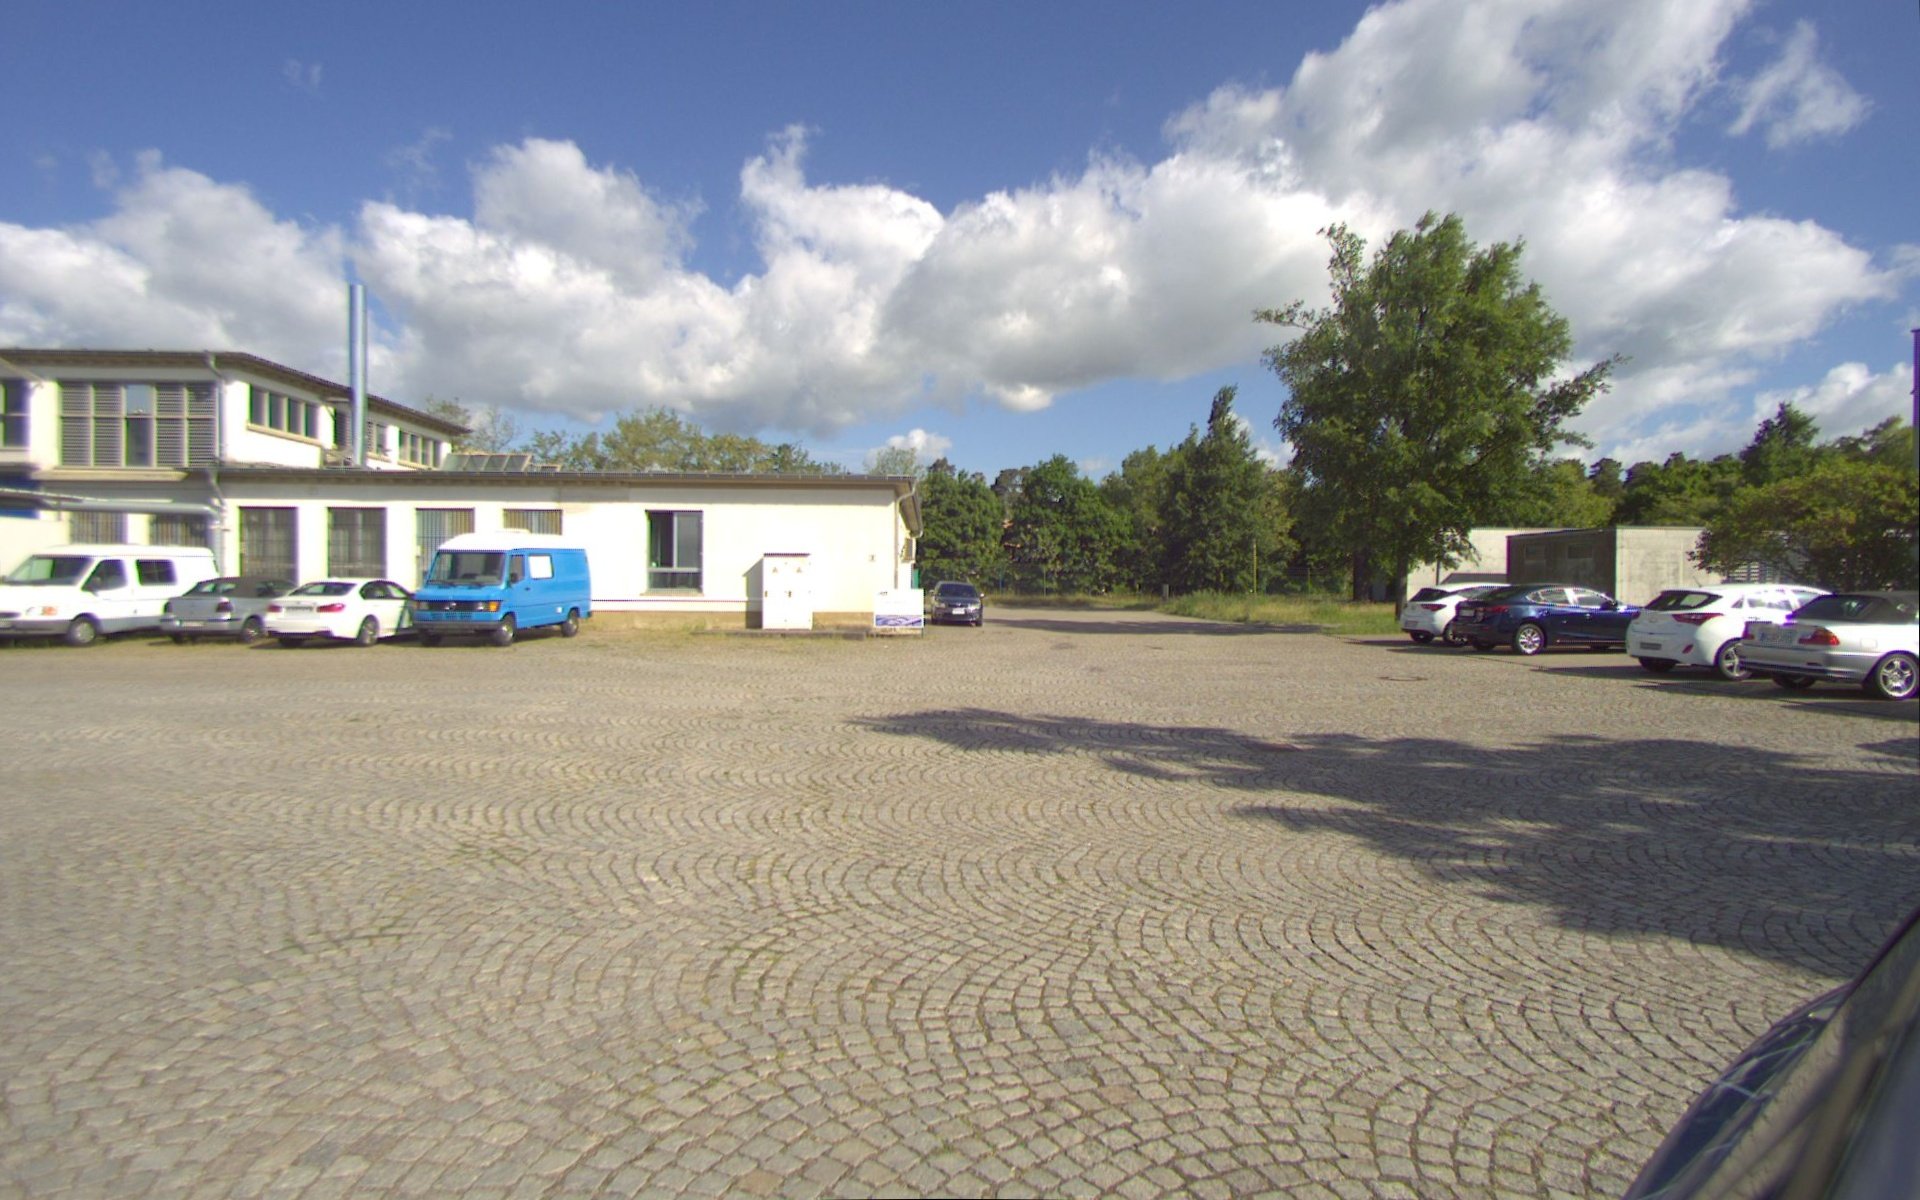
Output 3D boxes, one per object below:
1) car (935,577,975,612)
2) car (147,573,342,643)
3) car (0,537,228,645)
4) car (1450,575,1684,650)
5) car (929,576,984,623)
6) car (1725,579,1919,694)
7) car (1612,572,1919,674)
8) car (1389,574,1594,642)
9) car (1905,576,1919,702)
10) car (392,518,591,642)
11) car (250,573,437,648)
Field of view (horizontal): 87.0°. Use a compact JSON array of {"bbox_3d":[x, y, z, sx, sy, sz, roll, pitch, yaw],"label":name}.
[{"bbox_3d":[-0.260,-0.256,44.798,1.660,1.453,3.988,1,1,-1],"label":"car"},{"bbox_3d":[-15.923,0.119,22.776,1.661,1.416,3.831,1,1,1],"label":"car"},{"bbox_3d":[-18.826,-0.262,22.204,1.972,2.107,4.804,0,2,1],"label":"car"},{"bbox_3d":[12.681,0.230,21.306,3.850,1.435,1.693,-1,1,0],"label":"car"},{"bbox_3d":[-0.139,-0.051,35.041,1.735,1.453,3.993,3,1,-1],"label":"car"},{"bbox_3d":[12.836,0.431,13.540,3.850,1.389,1.728,-1,1,0],"label":"car"},{"bbox_3d":[12.902,0.329,16.122,3.850,1.464,1.756,-1,1,0],"label":"car"},{"bbox_3d":[12.496,0.162,23.960,3.850,1.453,1.796,-1,1,0],"label":"car"},{"bbox_3d":[13.295,0.431,11.100,4.077,1.478,1.690,-1,1,4],"label":"car"},{"bbox_3d":[-10.455,-0.449,23.130,2.051,2.514,5.237,0,1,1],"label":"car"},{"bbox_3d":[-13.143,0.153,21.852,1.705,1.423,3.739,0,2,1],"label":"car"}]
